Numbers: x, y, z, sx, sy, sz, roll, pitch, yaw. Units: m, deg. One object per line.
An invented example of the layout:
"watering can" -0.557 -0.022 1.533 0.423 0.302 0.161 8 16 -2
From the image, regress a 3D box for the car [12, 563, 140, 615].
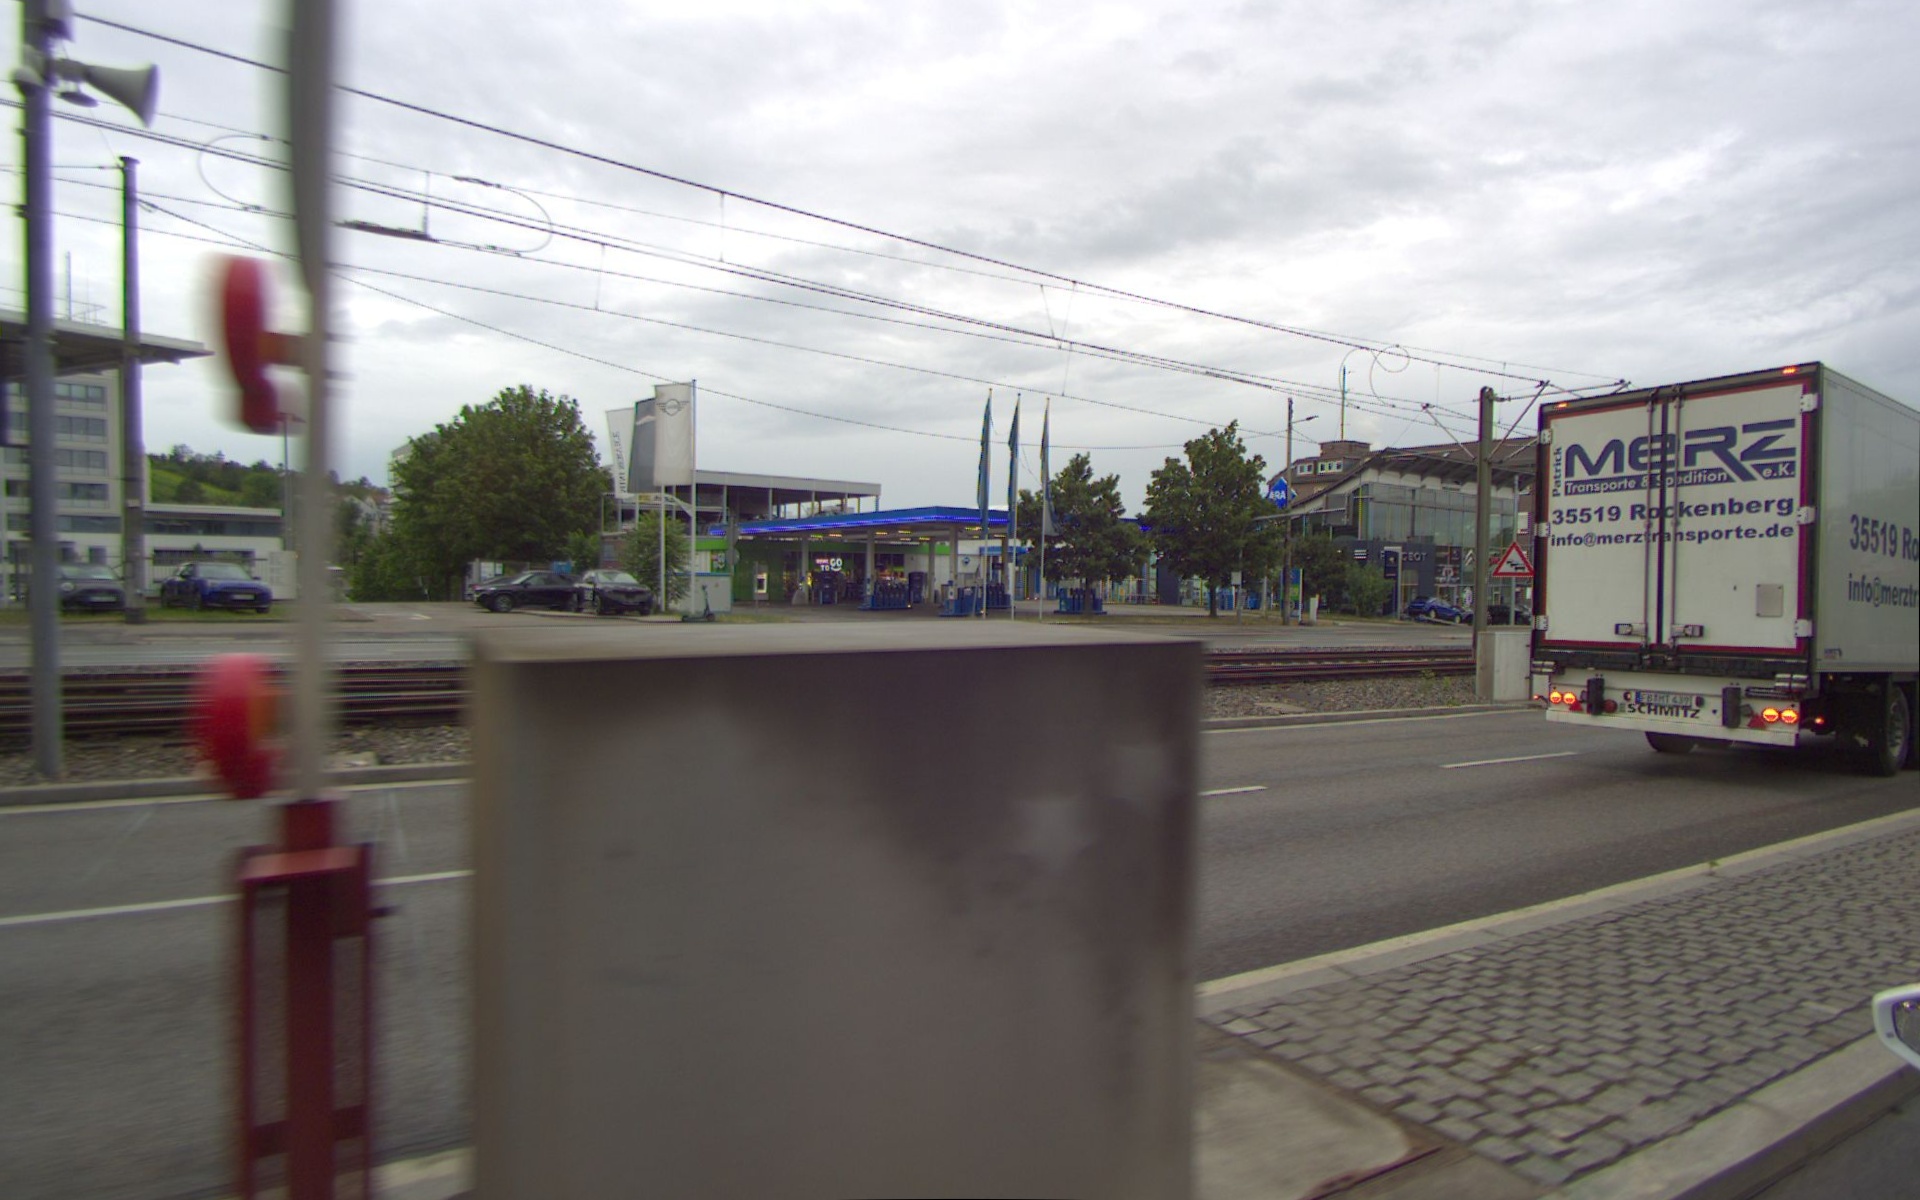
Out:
"car" -23.935 -0.355 27.167 3.934 1.252 1.697 2 3 35

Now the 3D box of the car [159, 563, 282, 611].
"car" -21.778 -0.390 29.551 3.934 1.251 1.755 2 0 35

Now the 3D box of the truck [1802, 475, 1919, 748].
"truck" 17.556 0.221 17.540 6.239 4.261 2.740 1 0 -34

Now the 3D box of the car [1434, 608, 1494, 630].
"car" 36.164 1.377 72.087 1.560 1.421 3.478 -1 -4 -38

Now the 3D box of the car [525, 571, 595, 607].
"car" -18.762 -0.512 47.151 2.775 1.594 1.372 1 1 -37

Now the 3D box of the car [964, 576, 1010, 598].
"car" 2.158 -1.058 80.888 1.837 1.662 3.964 1 1 -32

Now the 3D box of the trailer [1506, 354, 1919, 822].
"trailer" 12.446 -0.019 14.074 13.045 4.309 2.745 1 0 -34

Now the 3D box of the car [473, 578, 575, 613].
"car" -17.087 -0.165 39.432 3.400 1.260 1.573 1 1 -39

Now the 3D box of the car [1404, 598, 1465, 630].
"car" 32.630 0.981 69.072 4.022 1.629 1.753 9 -3 -30

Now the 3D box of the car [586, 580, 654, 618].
"car" -12.408 -0.060 36.542 1.696 1.291 3.498 1 1 -30
